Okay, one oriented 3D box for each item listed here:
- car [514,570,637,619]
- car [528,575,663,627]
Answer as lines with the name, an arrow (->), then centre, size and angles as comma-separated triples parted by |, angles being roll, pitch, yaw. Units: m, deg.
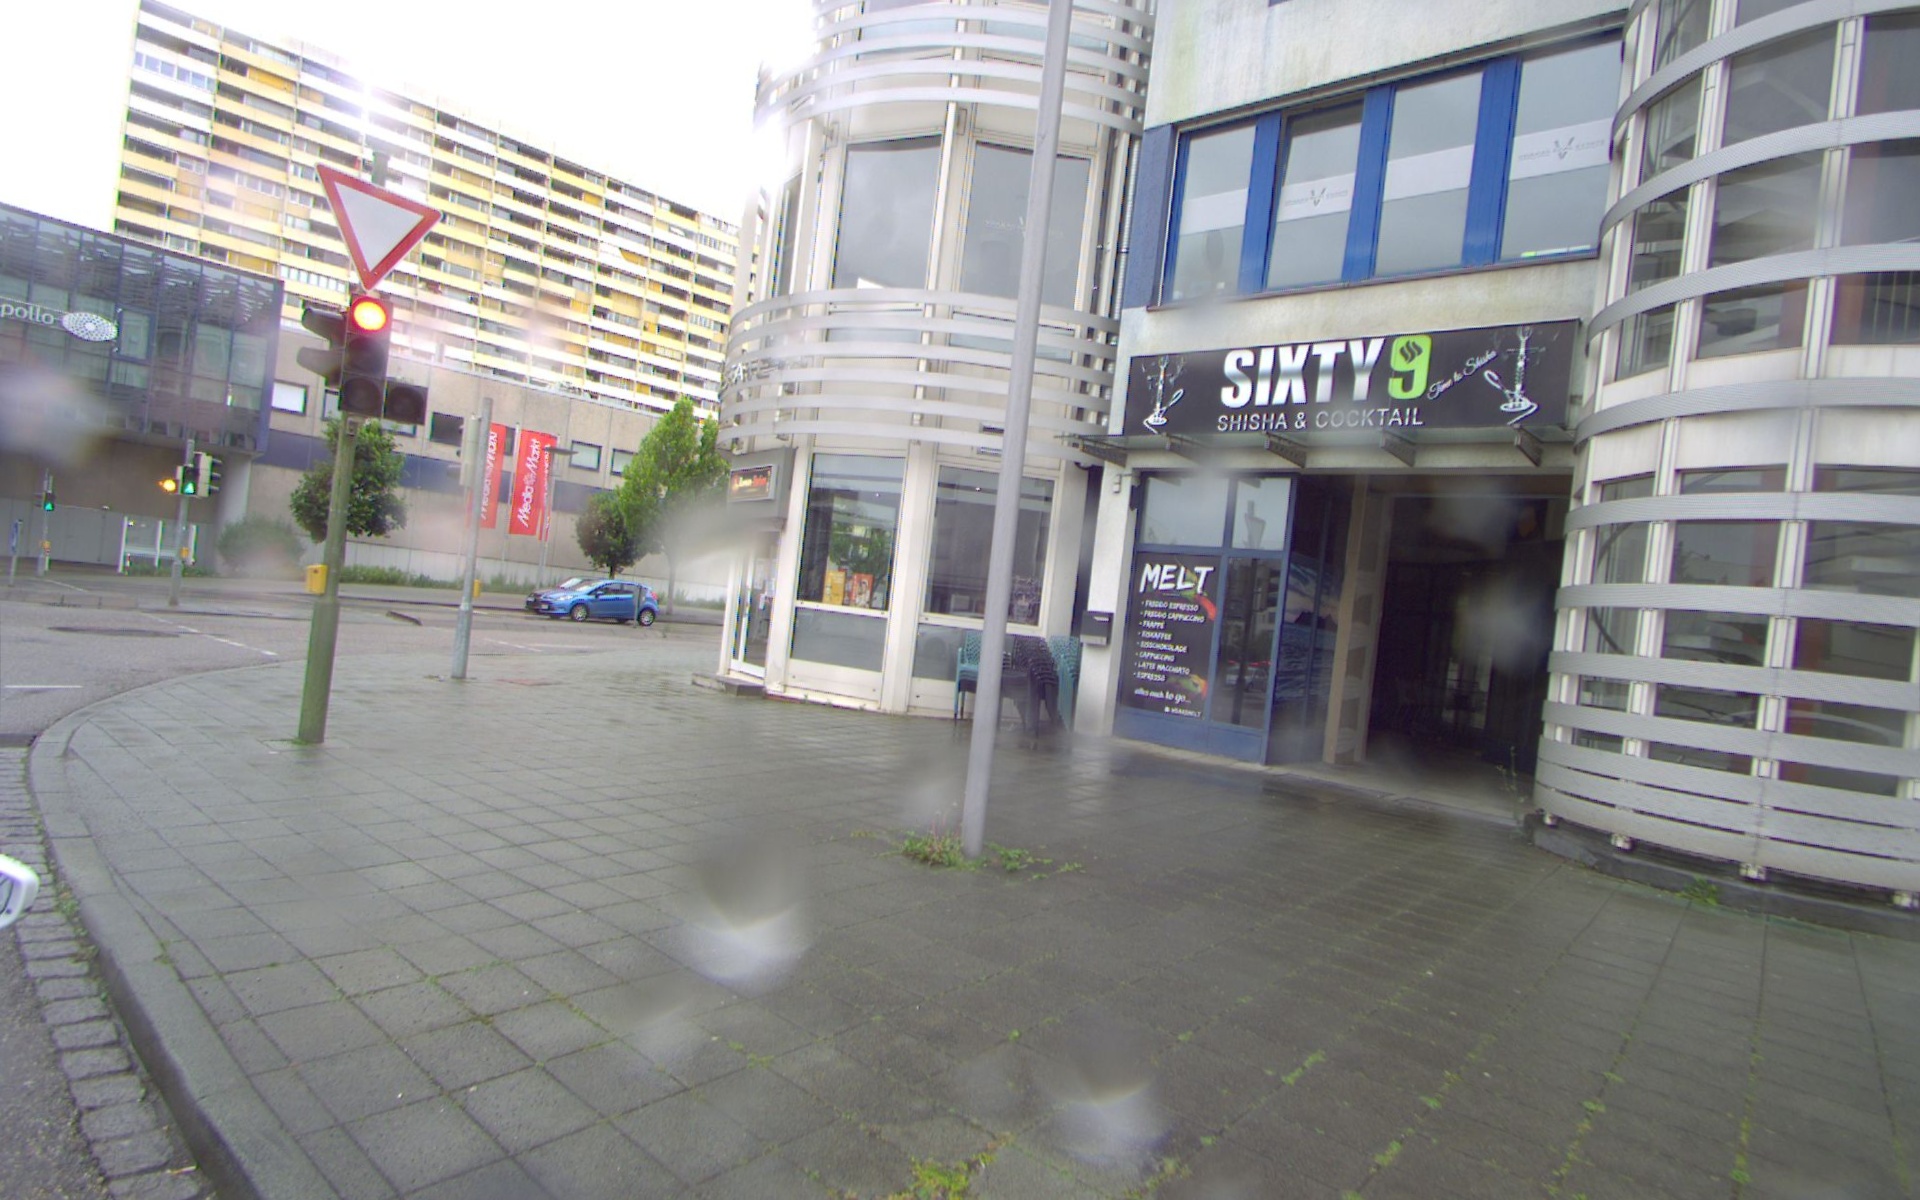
car -> -13.753, -0.163, 36.077 | 1.720, 1.412, 3.677 | 5, 0, 41
car -> -12.067, 0.060, 33.452 | 1.655, 1.415, 3.837 | 5, 0, 40
